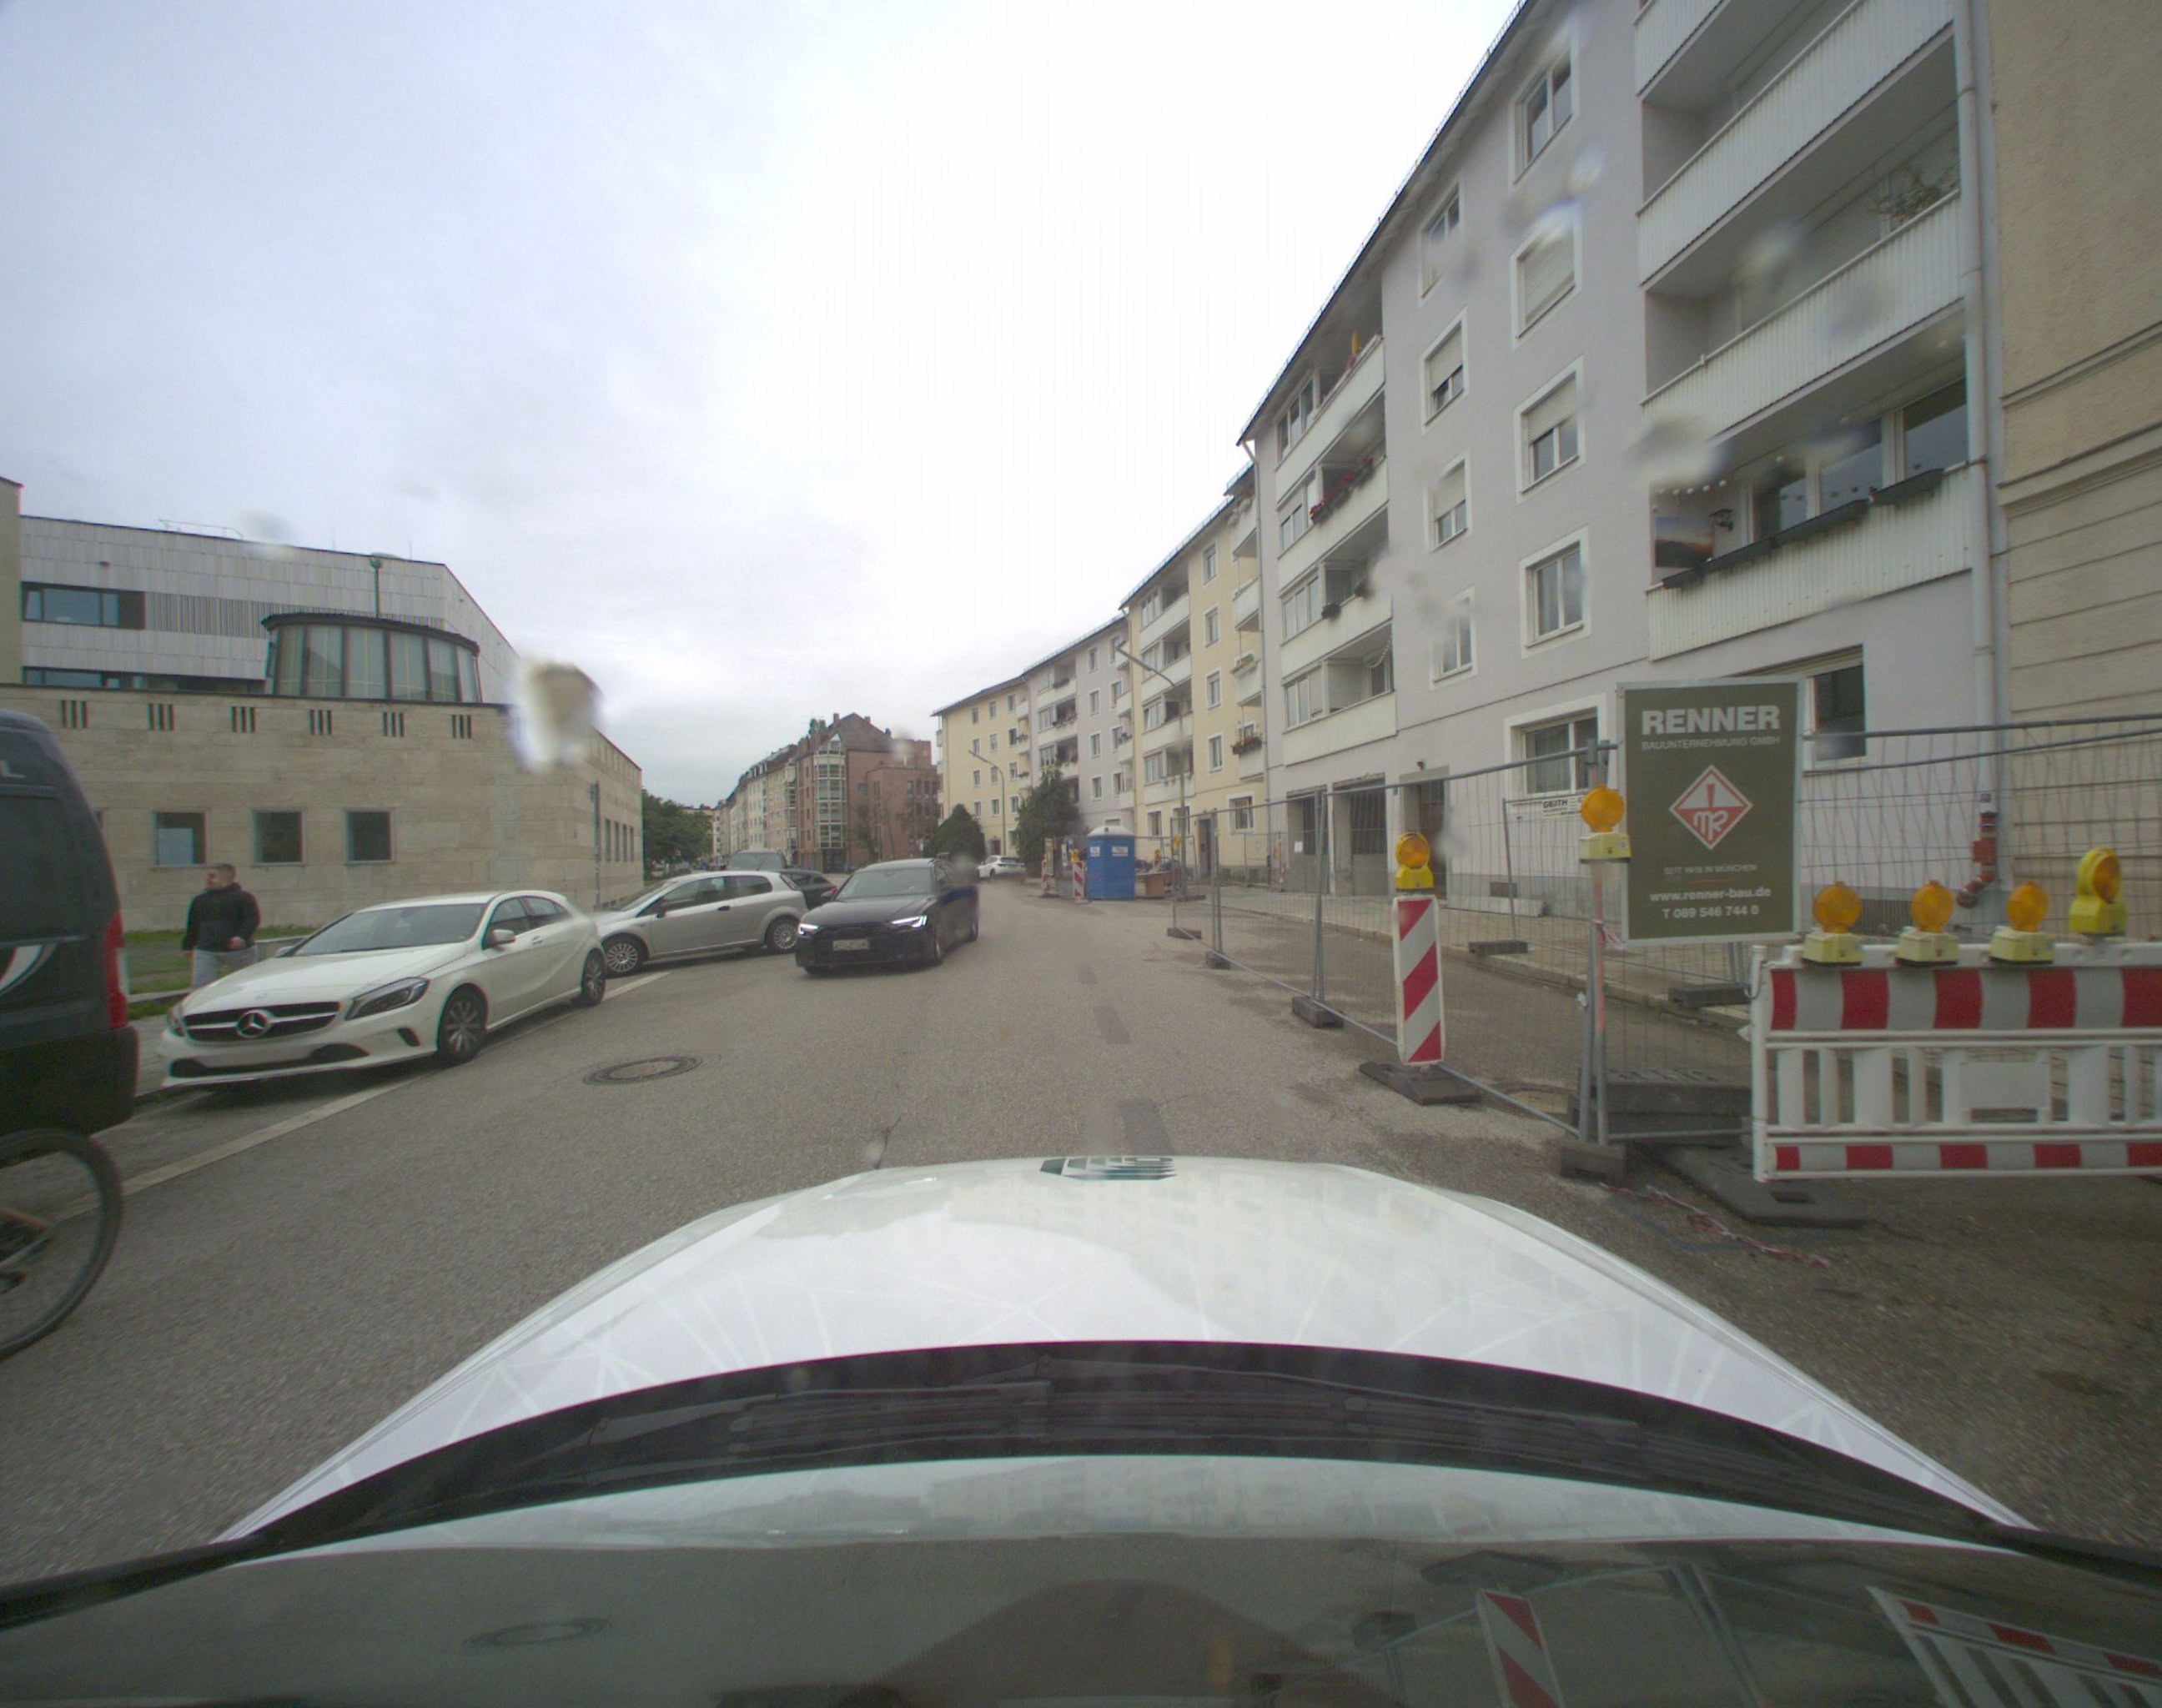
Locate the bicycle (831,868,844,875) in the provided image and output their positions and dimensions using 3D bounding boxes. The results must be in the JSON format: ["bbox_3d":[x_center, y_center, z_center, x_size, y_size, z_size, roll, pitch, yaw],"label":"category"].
[{"bbox_3d":[-30.932,2.164,103.457,1.109,0.854,1.709,-1,0,-35],"label":"bicycle"}]

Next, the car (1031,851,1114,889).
[{"bbox_3d":[-0.435,0.632,33.604,1.790,1.438,4.245,-1,0,-26],"label":"car"}]

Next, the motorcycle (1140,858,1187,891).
[{"bbox_3d":[3.193,0.760,31.746,0.934,1.221,2.493,-1,0,-16],"label":"motorcycle"}]

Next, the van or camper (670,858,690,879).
[{"bbox_3d":[-52.367,1.896,106.397,2.109,2.551,4.727,-1,0,-29],"label":"van or camper"}]

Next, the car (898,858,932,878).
[{"bbox_3d":[-13.007,1.078,63.825,1.790,1.510,3.689,-2,0,-25],"label":"car"}]

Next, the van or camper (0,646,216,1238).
[{"bbox_3d":[-5.640,0.436,1.306,2.294,2.581,6.072,-3,0,-6],"label":"van or camper"}]

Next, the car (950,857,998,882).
[{"bbox_3d":[-6.729,0.952,50.991,1.791,1.519,3.686,0,0,-28],"label":"car"}]

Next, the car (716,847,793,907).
[{"bbox_3d":[-10.610,0.721,26.808,2.058,1.736,4.854,-1,-1,-19],"label":"car"}]

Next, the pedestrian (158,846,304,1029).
[{"bbox_3d":[-9.207,0.859,8.861,0.845,1.866,0.709,-1,0,-21],"label":"pedestrian"}]

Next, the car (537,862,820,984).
[{"bbox_3d":[-6.580,1.031,13.546,3.831,1.507,1.693,-4,0,-43],"label":"car"}]

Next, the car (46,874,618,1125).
[{"bbox_3d":[-6.340,1.040,7.758,1.994,1.450,4.199,-4,1,-11],"label":"car"}]

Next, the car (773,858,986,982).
[{"bbox_3d":[-2.829,0.841,12.644,1.913,1.412,4.706,-4,0,2],"label":"car"}]

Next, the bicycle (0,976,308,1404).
[{"bbox_3d":[-3.450,1.069,2.402,0.585,1.069,1.932,-4,1,-6],"label":"bicycle"}]

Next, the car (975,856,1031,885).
[{"bbox_3d":[-4.508,0.914,46.359,1.841,1.574,3.964,-1,0,-27],"label":"car"}]

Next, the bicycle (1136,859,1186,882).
[{"bbox_3d":[3.887,0.793,39.761,2.238,1.069,0.914,-1,0,-17],"label":"bicycle"}]

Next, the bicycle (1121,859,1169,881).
[{"bbox_3d":[3.245,0.790,41.153,2.238,1.069,0.914,-1,0,-17],"label":"bicycle"}]

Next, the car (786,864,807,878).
[{"bbox_3d":[-33.141,1.979,94.867,1.644,1.483,3.574,-1,0,-32],"label":"car"}]

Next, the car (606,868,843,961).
[{"bbox_3d":[-7.188,1.149,16.663,4.022,1.421,1.792,-4,0,-44],"label":"car"}]

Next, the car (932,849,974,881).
[{"bbox_3d":[-8.671,0.727,54.955,1.790,1.976,3.689,-3,1,-25],"label":"car"}]

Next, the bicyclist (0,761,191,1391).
[{"bbox_3d":[-3.453,0.638,2.343,0.743,1.771,0.813,-4,1,-6],"label":"bicyclist"}]
